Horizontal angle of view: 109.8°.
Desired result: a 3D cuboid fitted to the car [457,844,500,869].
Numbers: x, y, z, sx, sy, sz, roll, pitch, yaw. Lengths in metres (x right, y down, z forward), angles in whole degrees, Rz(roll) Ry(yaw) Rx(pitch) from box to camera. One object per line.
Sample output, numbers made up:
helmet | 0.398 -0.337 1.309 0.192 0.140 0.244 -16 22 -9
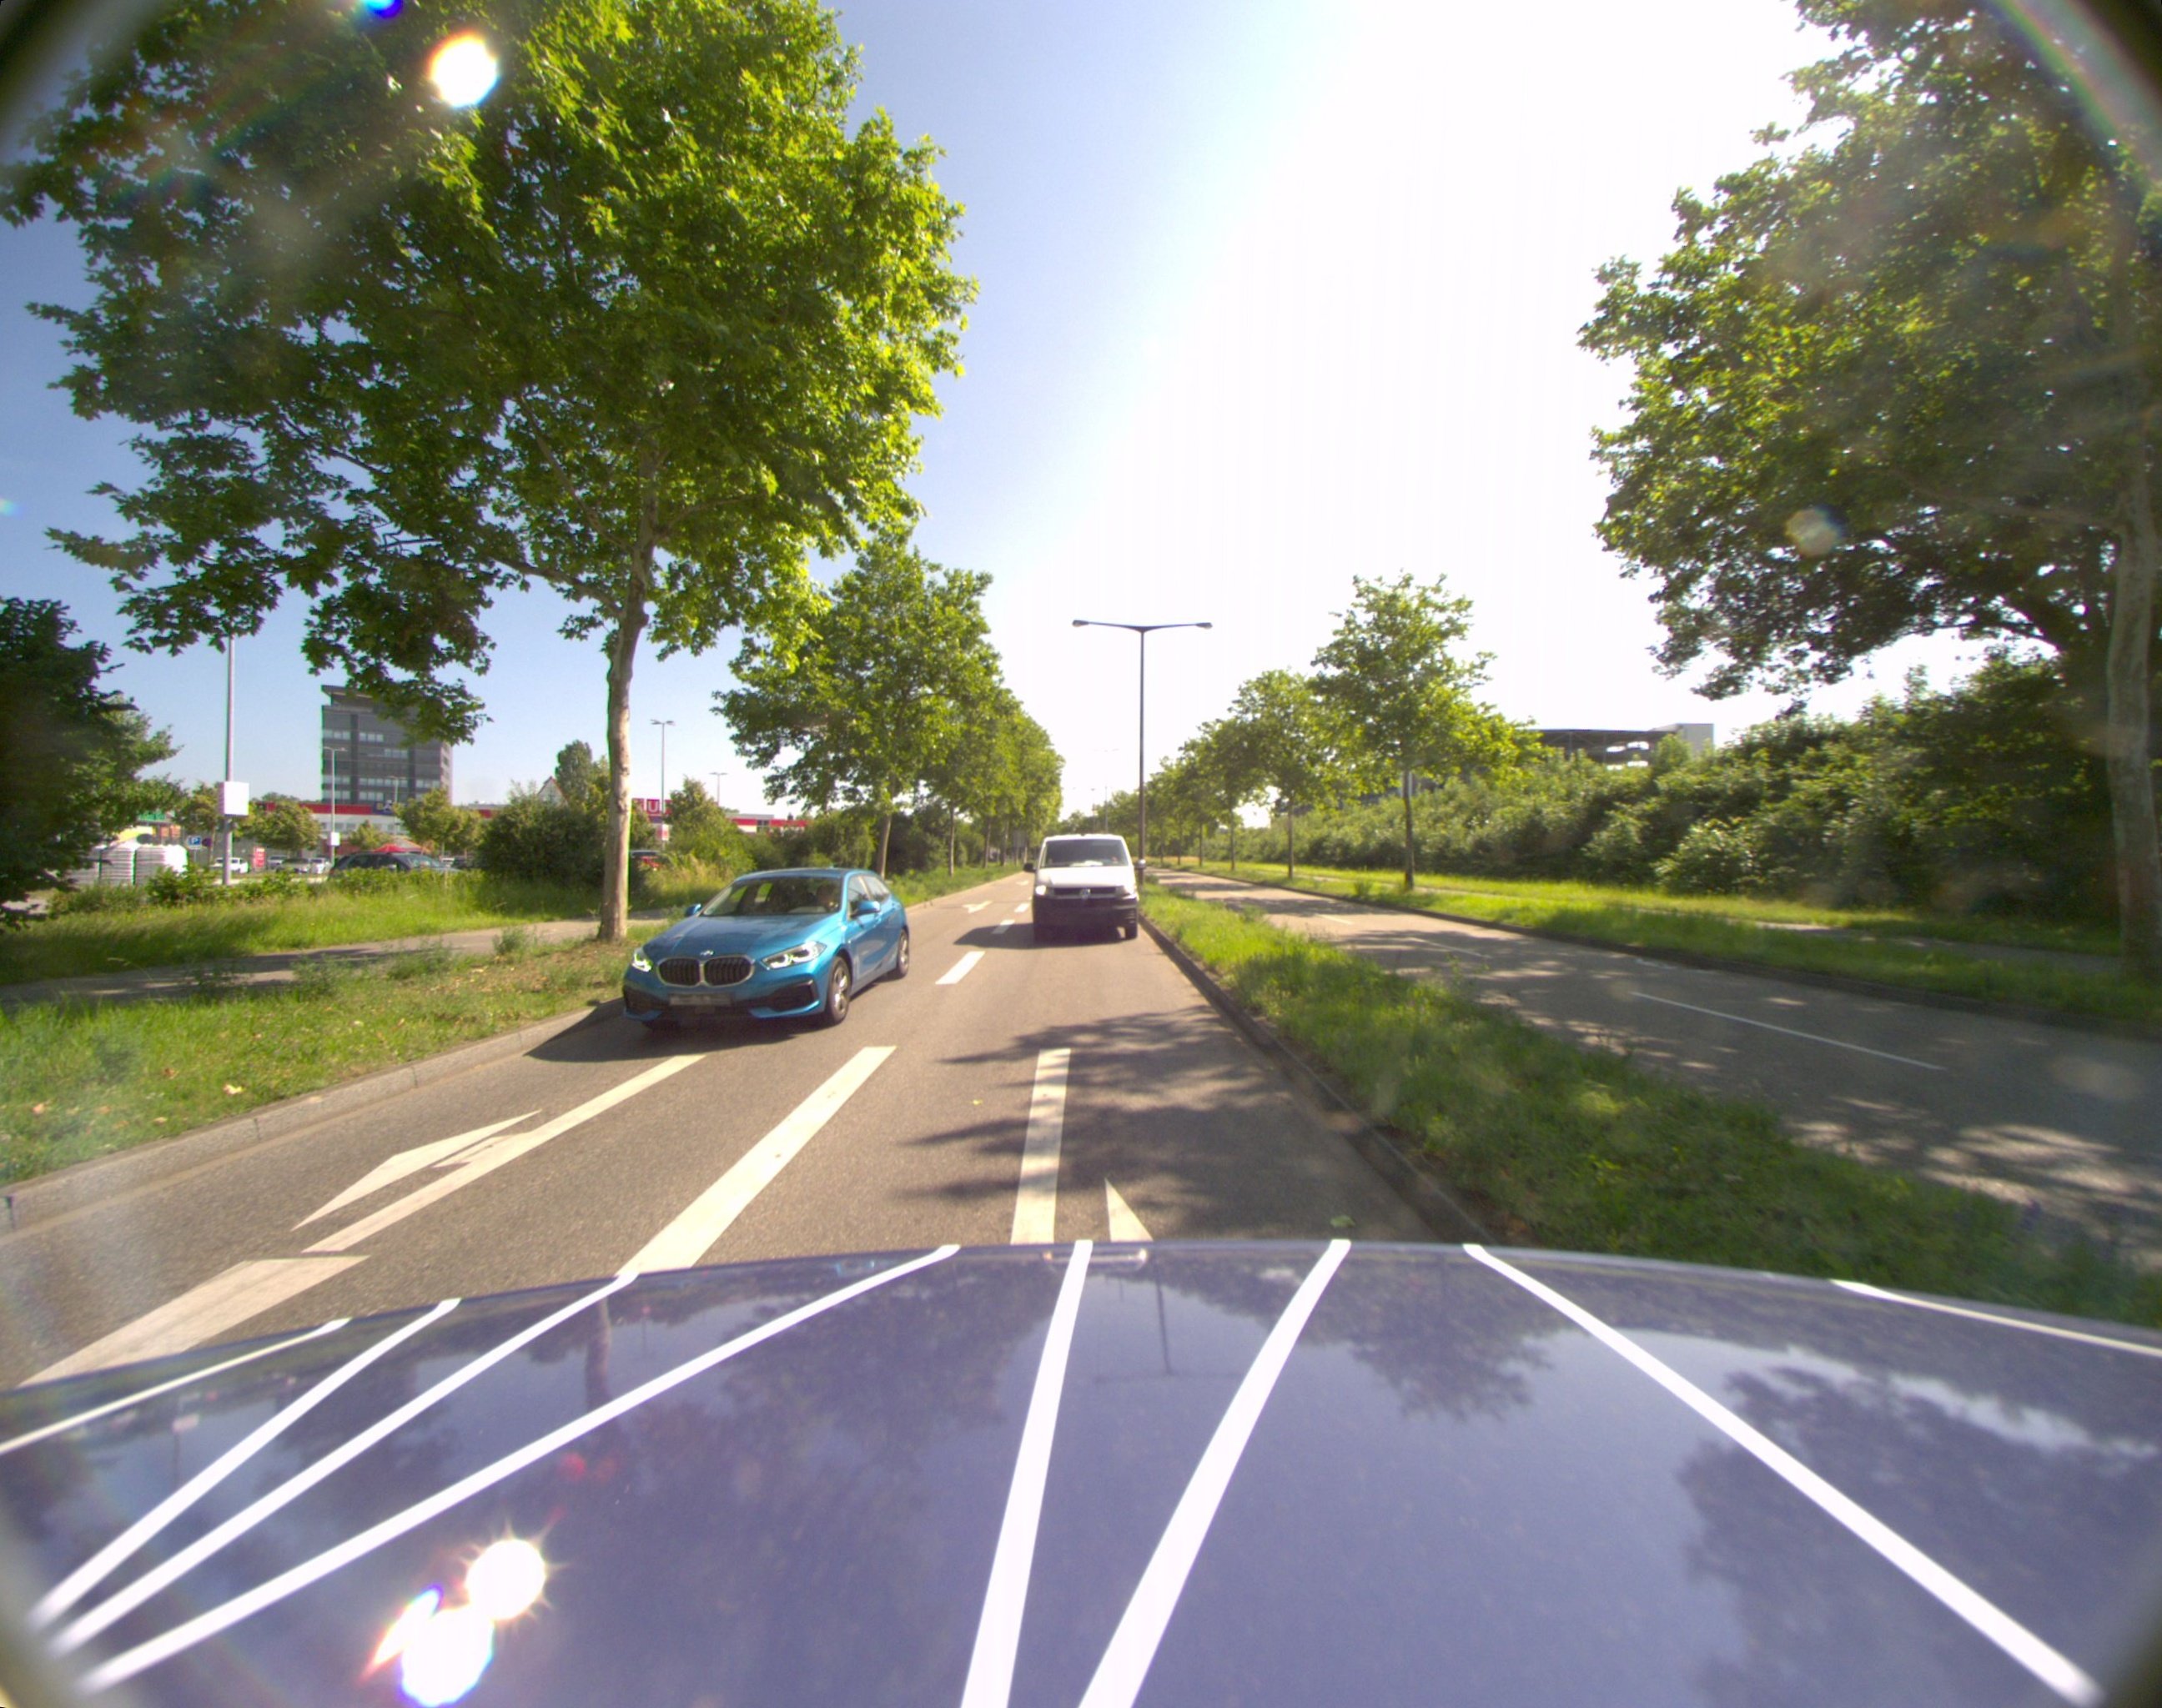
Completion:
car | -51.499 0.216 65.028 2.002 2.002 3.991 -2 1 -26

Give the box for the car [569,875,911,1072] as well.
car | -3.156 1.005 8.088 1.872 1.412 4.129 0 0 -2

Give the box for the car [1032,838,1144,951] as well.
car | 0.052 0.662 15.092 1.872 1.889 4.880 0 0 -2

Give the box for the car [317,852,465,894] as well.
car | -23.071 0.614 25.483 3.527 1.240 1.613 -1 1 3

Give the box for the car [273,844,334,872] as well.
car | -60.188 0.290 58.880 2.002 2.002 3.991 -2 1 -26

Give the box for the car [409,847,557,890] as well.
car | -22.513 0.516 28.713 3.996 1.474 2.000 -1 1 3

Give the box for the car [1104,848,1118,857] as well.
car | 5.247 -0.308 132.008 1.705 1.499 3.997 0 0 -9
